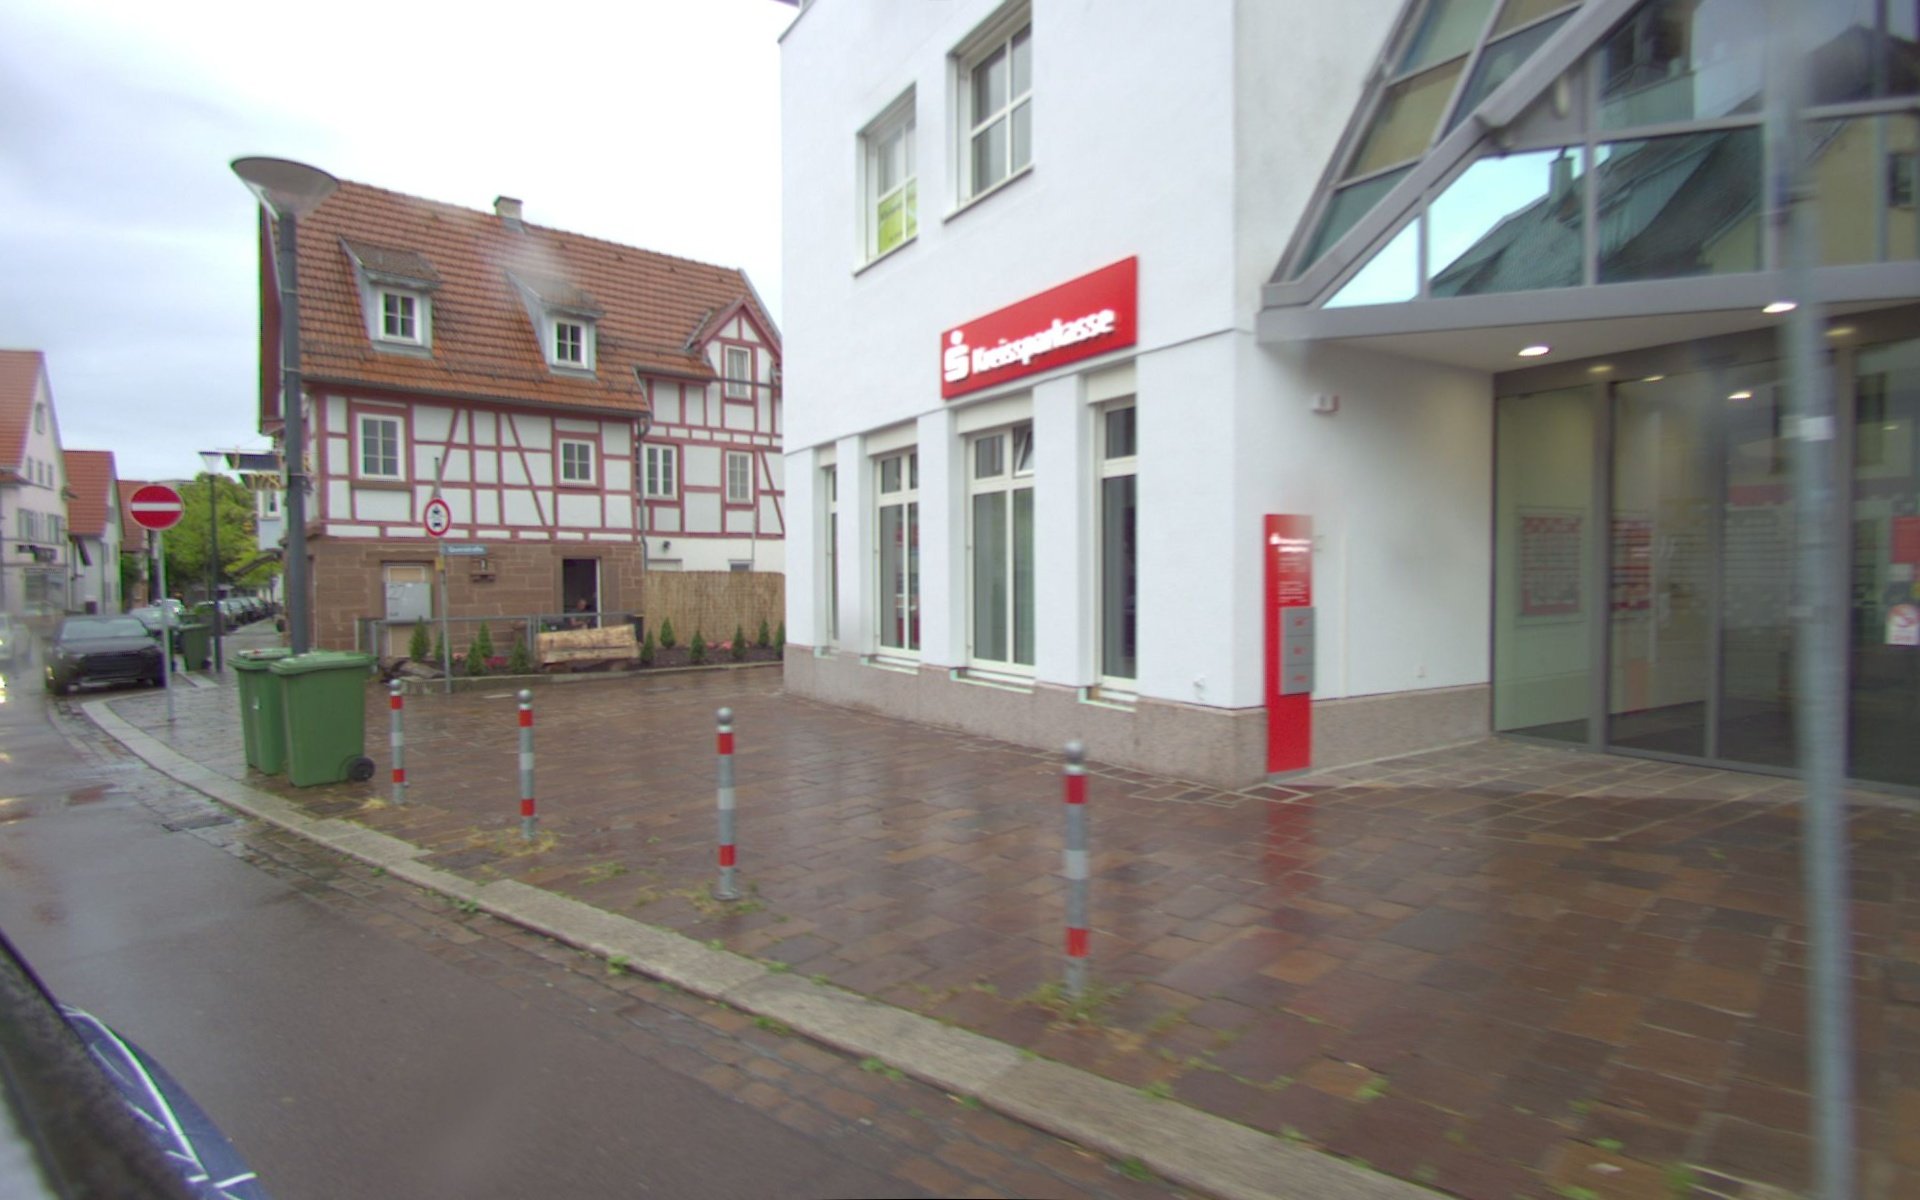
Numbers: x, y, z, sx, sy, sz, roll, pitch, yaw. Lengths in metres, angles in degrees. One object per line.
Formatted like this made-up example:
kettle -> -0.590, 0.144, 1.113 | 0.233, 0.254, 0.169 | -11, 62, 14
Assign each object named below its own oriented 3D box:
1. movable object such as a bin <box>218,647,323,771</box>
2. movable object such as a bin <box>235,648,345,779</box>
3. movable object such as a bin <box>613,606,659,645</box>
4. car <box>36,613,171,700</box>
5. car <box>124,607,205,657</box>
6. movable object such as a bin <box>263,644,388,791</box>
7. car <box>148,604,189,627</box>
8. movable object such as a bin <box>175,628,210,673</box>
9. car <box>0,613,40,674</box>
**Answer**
movable object such as a bin -> -6.468, 0.994, 9.499 | 0.645, 1.055, 0.688 | 0, 0, 42
movable object such as a bin -> -5.983, 0.985, 9.043 | 0.645, 1.059, 0.688 | 0, 0, 42
movable object such as a bin -> -7.290, 0.567, 22.763 | 0.756, 0.863, 0.700 | 0, 0, 42
car -> -17.242, 1.052, 20.304 | 1.781, 1.453, 4.003 | -3, 2, -44
car -> -26.342, 1.011, 33.614 | 1.778, 1.453, 4.011 | -3, 2, -34
movable object such as a bin -> -5.303, 0.952, 8.466 | 0.645, 1.085, 0.688 | 0, 3, 42
car -> -52.987, 0.991, 67.834 | 1.838, 1.471, 4.011 | 0, 0, -33
movable object such as a bin -> -18.509, 1.208, 24.408 | 0.530, 1.030, 0.604 | 0, 0, 42
car -> -27.849, 1.211, 28.798 | 1.838, 1.598, 4.626 | 0, 0, -34
